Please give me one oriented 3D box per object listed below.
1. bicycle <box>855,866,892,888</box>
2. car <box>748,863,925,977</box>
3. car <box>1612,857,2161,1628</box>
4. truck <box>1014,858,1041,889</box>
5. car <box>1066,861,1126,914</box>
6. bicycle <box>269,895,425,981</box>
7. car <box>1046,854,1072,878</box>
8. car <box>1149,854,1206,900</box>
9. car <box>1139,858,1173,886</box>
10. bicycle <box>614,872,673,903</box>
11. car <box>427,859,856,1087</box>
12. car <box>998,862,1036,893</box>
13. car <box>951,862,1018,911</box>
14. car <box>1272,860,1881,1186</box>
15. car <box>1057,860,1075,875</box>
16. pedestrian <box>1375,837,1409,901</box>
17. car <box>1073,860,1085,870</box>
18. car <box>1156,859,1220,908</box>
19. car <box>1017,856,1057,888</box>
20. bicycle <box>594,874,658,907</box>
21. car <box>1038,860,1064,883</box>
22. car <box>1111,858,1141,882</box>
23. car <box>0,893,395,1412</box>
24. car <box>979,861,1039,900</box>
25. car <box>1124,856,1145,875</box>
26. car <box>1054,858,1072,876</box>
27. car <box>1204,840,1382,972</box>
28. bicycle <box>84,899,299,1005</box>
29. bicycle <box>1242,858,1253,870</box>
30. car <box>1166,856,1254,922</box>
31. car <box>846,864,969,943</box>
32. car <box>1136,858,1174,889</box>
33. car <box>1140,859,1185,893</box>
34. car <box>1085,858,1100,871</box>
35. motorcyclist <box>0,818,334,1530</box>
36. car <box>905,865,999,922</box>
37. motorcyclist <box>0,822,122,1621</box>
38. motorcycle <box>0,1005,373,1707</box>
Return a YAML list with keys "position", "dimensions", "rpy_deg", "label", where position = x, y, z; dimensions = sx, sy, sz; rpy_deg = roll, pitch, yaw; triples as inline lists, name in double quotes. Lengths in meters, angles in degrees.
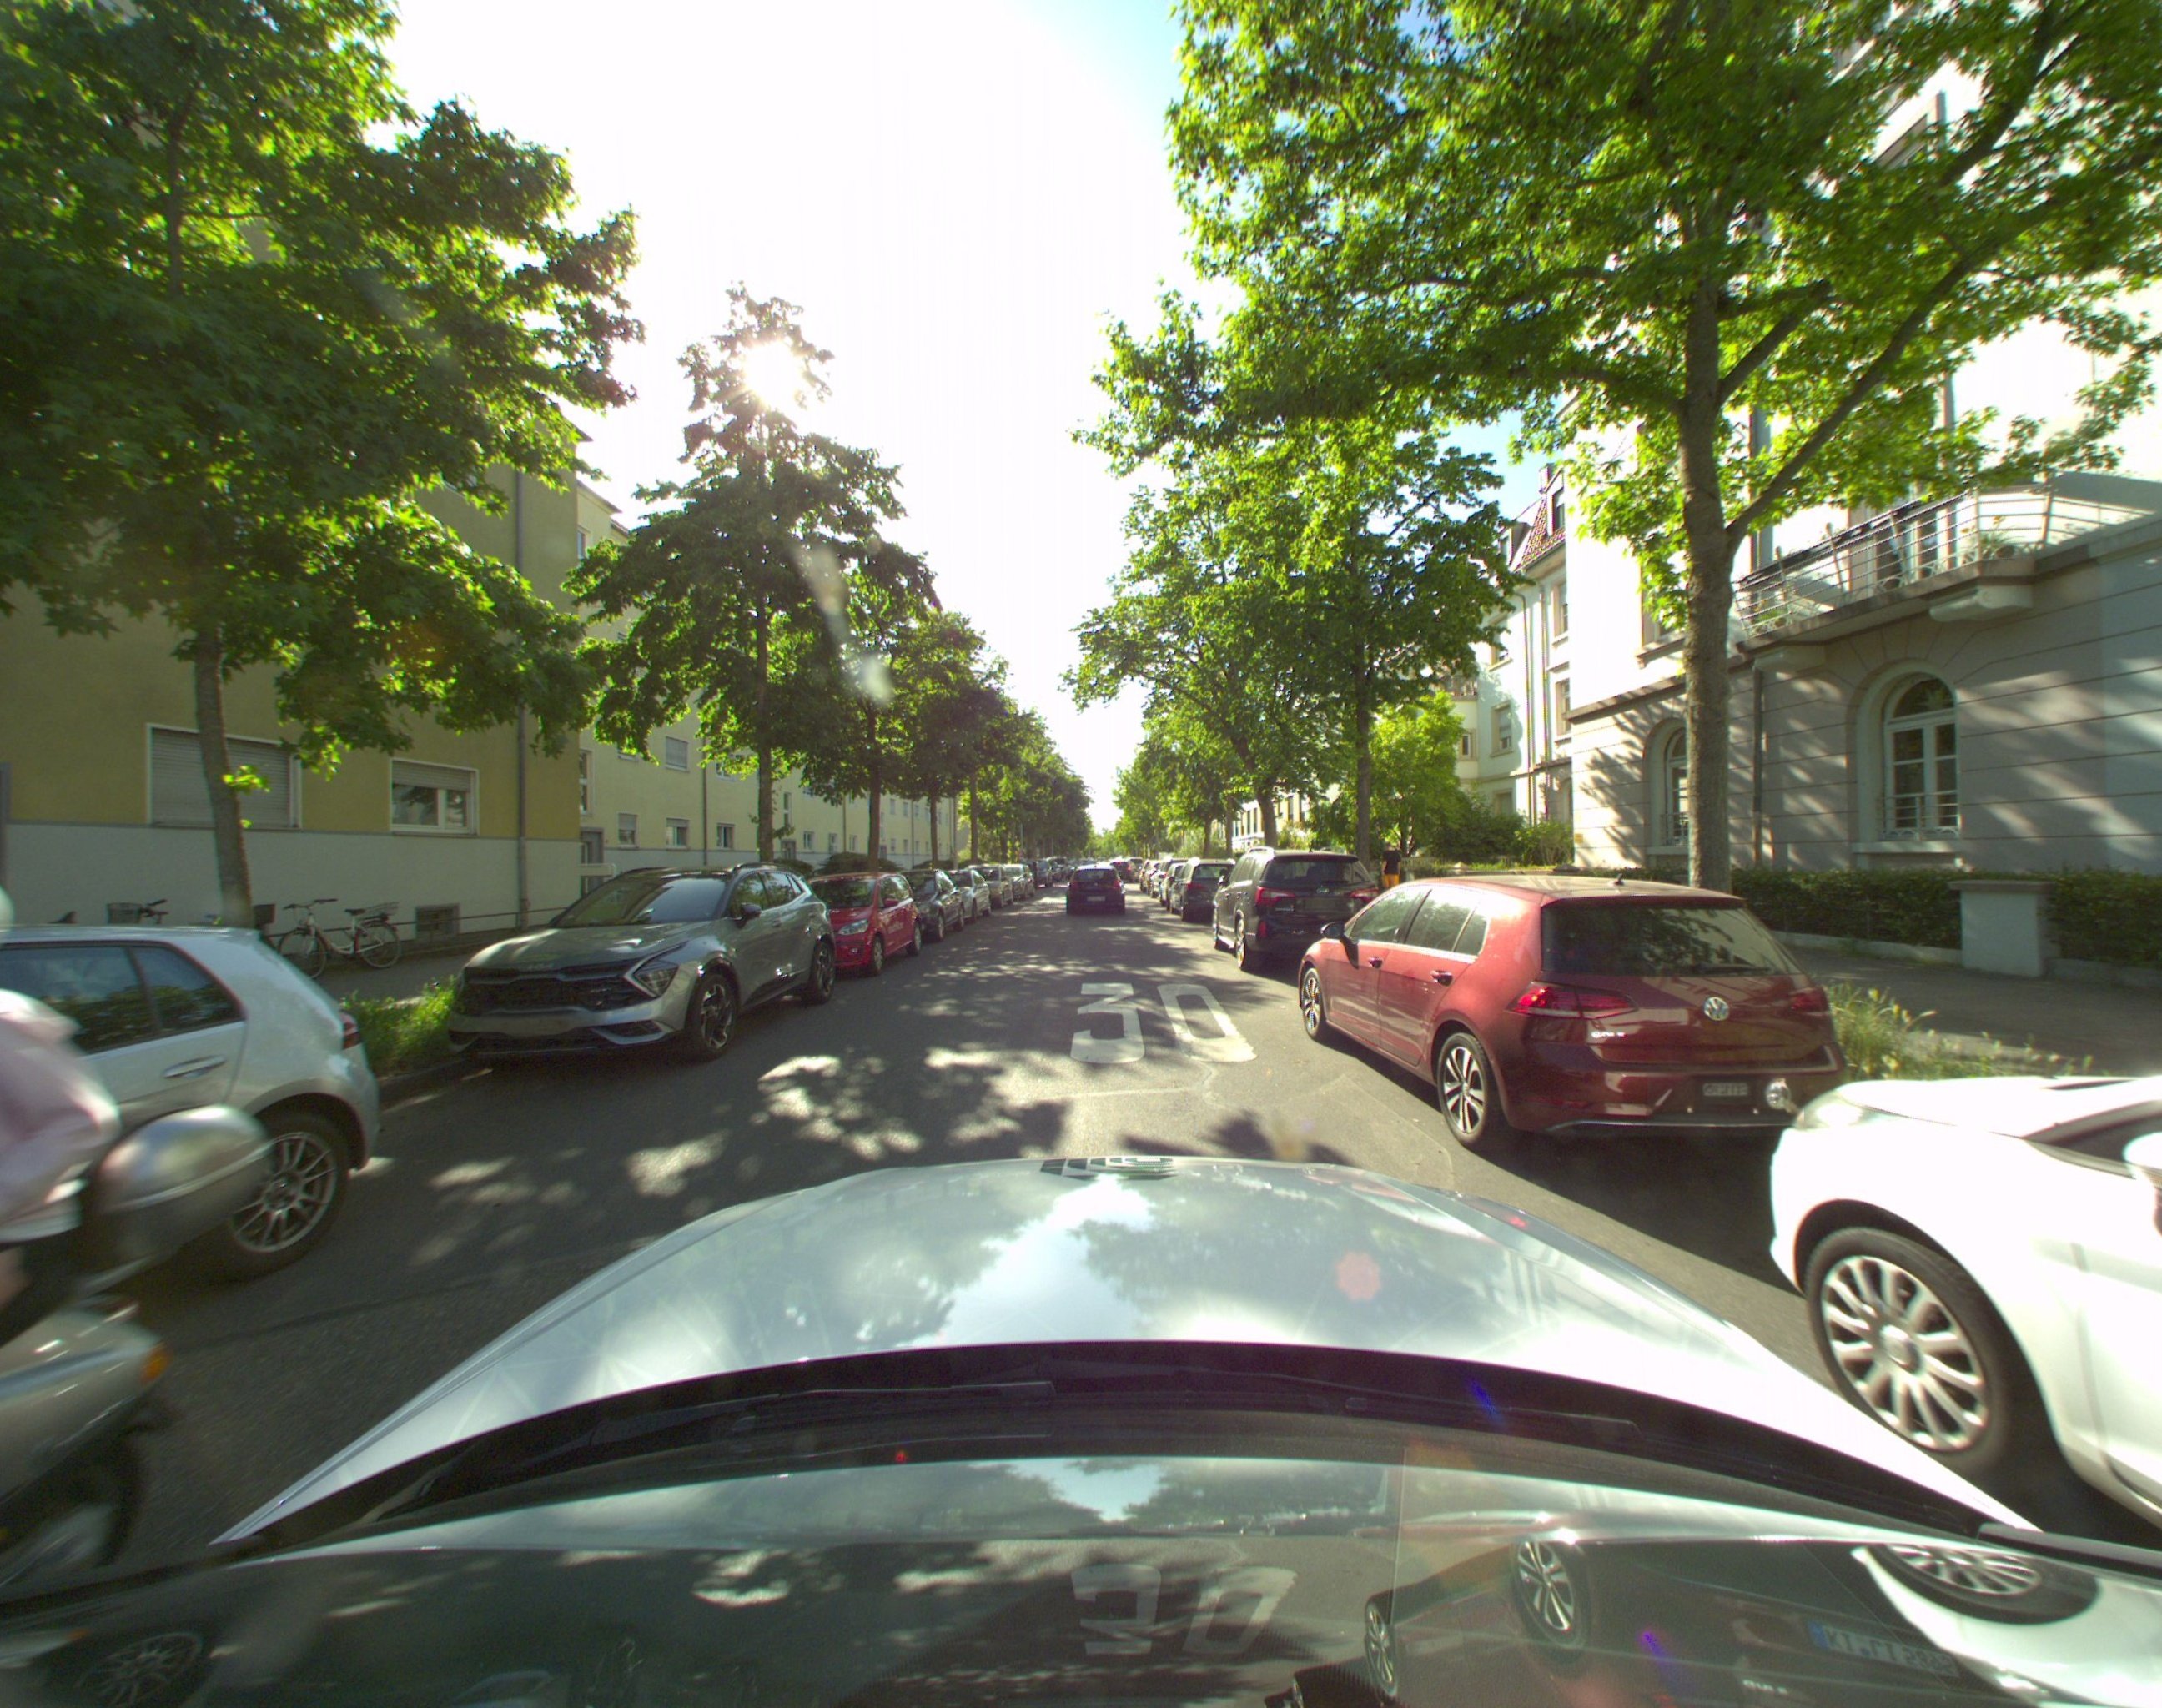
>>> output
- position: [-11.025, 1.221, 43.277]
  dimensions: [1.834, 1.081, 0.486]
  rpy_deg: [-1, -1, -2]
  label: "bicycle"
- position: [-3.642, 0.922, 12.735]
  dimensions: [1.658, 1.486, 3.257]
  rpy_deg: [-1, 0, 2]
  label: "car"
- position: [2.814, 0.722, 1.018]
  dimensions: [1.647, 1.402, 4.136]
  rpy_deg: [-1, 0, 1]
  label: "car"
- position: [-2.817, 1.045, 43.533]
  dimensions: [1.079, 1.577, 2.434]
  rpy_deg: [-1, 0, 4]
  label: "truck"
- position: [0.470, 0.951, 24.469]
  dimensions: [1.643, 1.397, 3.412]
  rpy_deg: [-2, 0, 1]
  label: "car"
- position: [-10.286, 1.139, 11.507]
  dimensions: [0.533, 1.027, 1.750]
  rpy_deg: [-1, 0, 3]
  label: "bicycle"
- position: [-1.908, 1.035, 70.737]
  dimensions: [1.819, 1.904, 5.145]
  rpy_deg: [-2, 0, 2]
  label: "car"
- position: [3.676, 0.844, 31.455]
  dimensions: [1.644, 1.655, 3.844]
  rpy_deg: [-1, 0, -1]
  label: "car"
- position: [4.195, 0.979, 46.199]
  dimensions: [1.694, 1.449, 4.084]
  rpy_deg: [-2, 0, 2]
  label: "car"
- position: [-14.389, 1.098, 26.830]
  dimensions: [1.630, 0.930, 0.480]
  rpy_deg: [-1, 0, -7]
  label: "bicycle"
- position: [-3.771, 0.858, 8.151]
  dimensions: [1.686, 1.565, 4.735]
  rpy_deg: [-1, 0, 0]
  label: "car"
- position: [-3.055, 1.112, 39.510]
  dimensions: [1.515, 1.395, 3.727]
  rpy_deg: [-1, 0, 0]
  label: "car"
- position: [-3.340, 1.097, 29.050]
  dimensions: [1.614, 1.515, 4.271]
  rpy_deg: [-3, 0, 3]
  label: "car"
- position: [2.767, 0.772, 5.858]
  dimensions: [1.607, 1.410, 4.348]
  rpy_deg: [-1, 0, -2]
  label: "car"
- position: [-1.509, 1.349, 81.560]
  dimensions: [1.606, 1.427, 4.058]
  rpy_deg: [-2, 0, 1]
  label: "car"
- position: [8.823, 0.413, 23.118]
  dimensions: [0.620, 1.775, 0.800]
  rpy_deg: [-2, -1, 1]
  label: "pedestrian"
- position: [-0.306, 1.644, 118.772]
  dimensions: [1.606, 1.392, 3.866]
  rpy_deg: [-2, 0, 1]
  label: "car"
- position: [3.433, 0.921, 26.812]
  dimensions: [1.623, 1.425, 4.370]
  rpy_deg: [-2, 0, 2]
  label: "car"
- position: [-2.554, 1.009, 48.162]
  dimensions: [1.842, 1.680, 4.978]
  rpy_deg: [-4, 0, 1]
  label: "car"
- position: [-13.838, 1.109, 24.770]
  dimensions: [1.628, 0.930, 0.481]
  rpy_deg: [-2, 0, -2]
  label: "bicycle"
- position: [-2.173, 1.277, 60.115]
  dimensions: [1.502, 1.548, 4.779]
  rpy_deg: [-3, -1, 1]
  label: "car"
- position: [2.929, 1.023, 53.702]
  dimensions: [1.644, 1.425, 3.999]
  rpy_deg: [-1, 0, -1]
  label: "car"
- position: [-4.010, 0.911, 1.732]
  dimensions: [1.755, 1.442, 3.992]
  rpy_deg: [-1, 0, -2]
  label: "car"
- position: [-2.970, 1.090, 34.661]
  dimensions: [1.784, 1.444, 4.692]
  rpy_deg: [-3, 0, 3]
  label: "car"
- position: [4.842, 1.066, 73.584]
  dimensions: [1.840, 1.631, 4.414]
  rpy_deg: [0, -1, 3]
  label: "car"
- position: [-1.650, 1.218, 76.253]
  dimensions: [1.607, 1.611, 4.228]
  rpy_deg: [-2, 0, -1]
  label: "car"
- position: [3.132, 0.695, 12.956]
  dimensions: [1.774, 1.698, 4.298]
  rpy_deg: [-2, 0, 1]
  label: "car"
- position: [-10.340, 1.098, 9.575]
  dimensions: [0.538, 1.027, 1.749]
  rpy_deg: [-1, 0, 3]
  label: "bicycle"
- position: [14.715, 0.894, 72.022]
  dimensions: [0.544, 1.055, 1.779]
  rpy_deg: [-2, -1, -1]
  label: "bicycle"
- position: [3.396, 0.863, 22.215]
  dimensions: [1.678, 1.588, 4.535]
  rpy_deg: [1, 0, 0]
  label: "car"
- position: [-3.614, 0.978, 17.635]
  dimensions: [1.658, 1.459, 3.934]
  rpy_deg: [-1, 0, 2]
  label: "car"
- position: [3.751, 0.965, 41.640]
  dimensions: [1.630, 1.455, 4.101]
  rpy_deg: [-1, 0, 1]
  label: "car"
- position: [3.607, 0.950, 36.577]
  dimensions: [1.644, 1.428, 3.611]
  rpy_deg: [-2, 0, 0]
  label: "car"
- position: [1.403, 1.215, 95.311]
  dimensions: [1.498, 1.426, 3.182]
  rpy_deg: [-1, 0, 5]
  label: "car"
- position: [-2.157, 0.645, 1.845]
  dimensions: [0.542, 1.426, 0.404]
  rpy_deg: [-1, -1, 1]
  label: "motorcyclist"
- position: [-3.533, 1.045, 23.113]
  dimensions: [1.739, 1.369, 4.676]
  rpy_deg: [-2, 0, 2]
  label: "car"
- position: [-2.186, 0.649, 1.358]
  dimensions: [0.550, 1.403, 0.520]
  rpy_deg: [-1, -1, 1]
  label: "motorcyclist"
- position: [-2.173, 0.988, 1.340]
  dimensions: [0.550, 1.175, 1.633]
  rpy_deg: [-1, 0, 1]
  label: "motorcycle"
